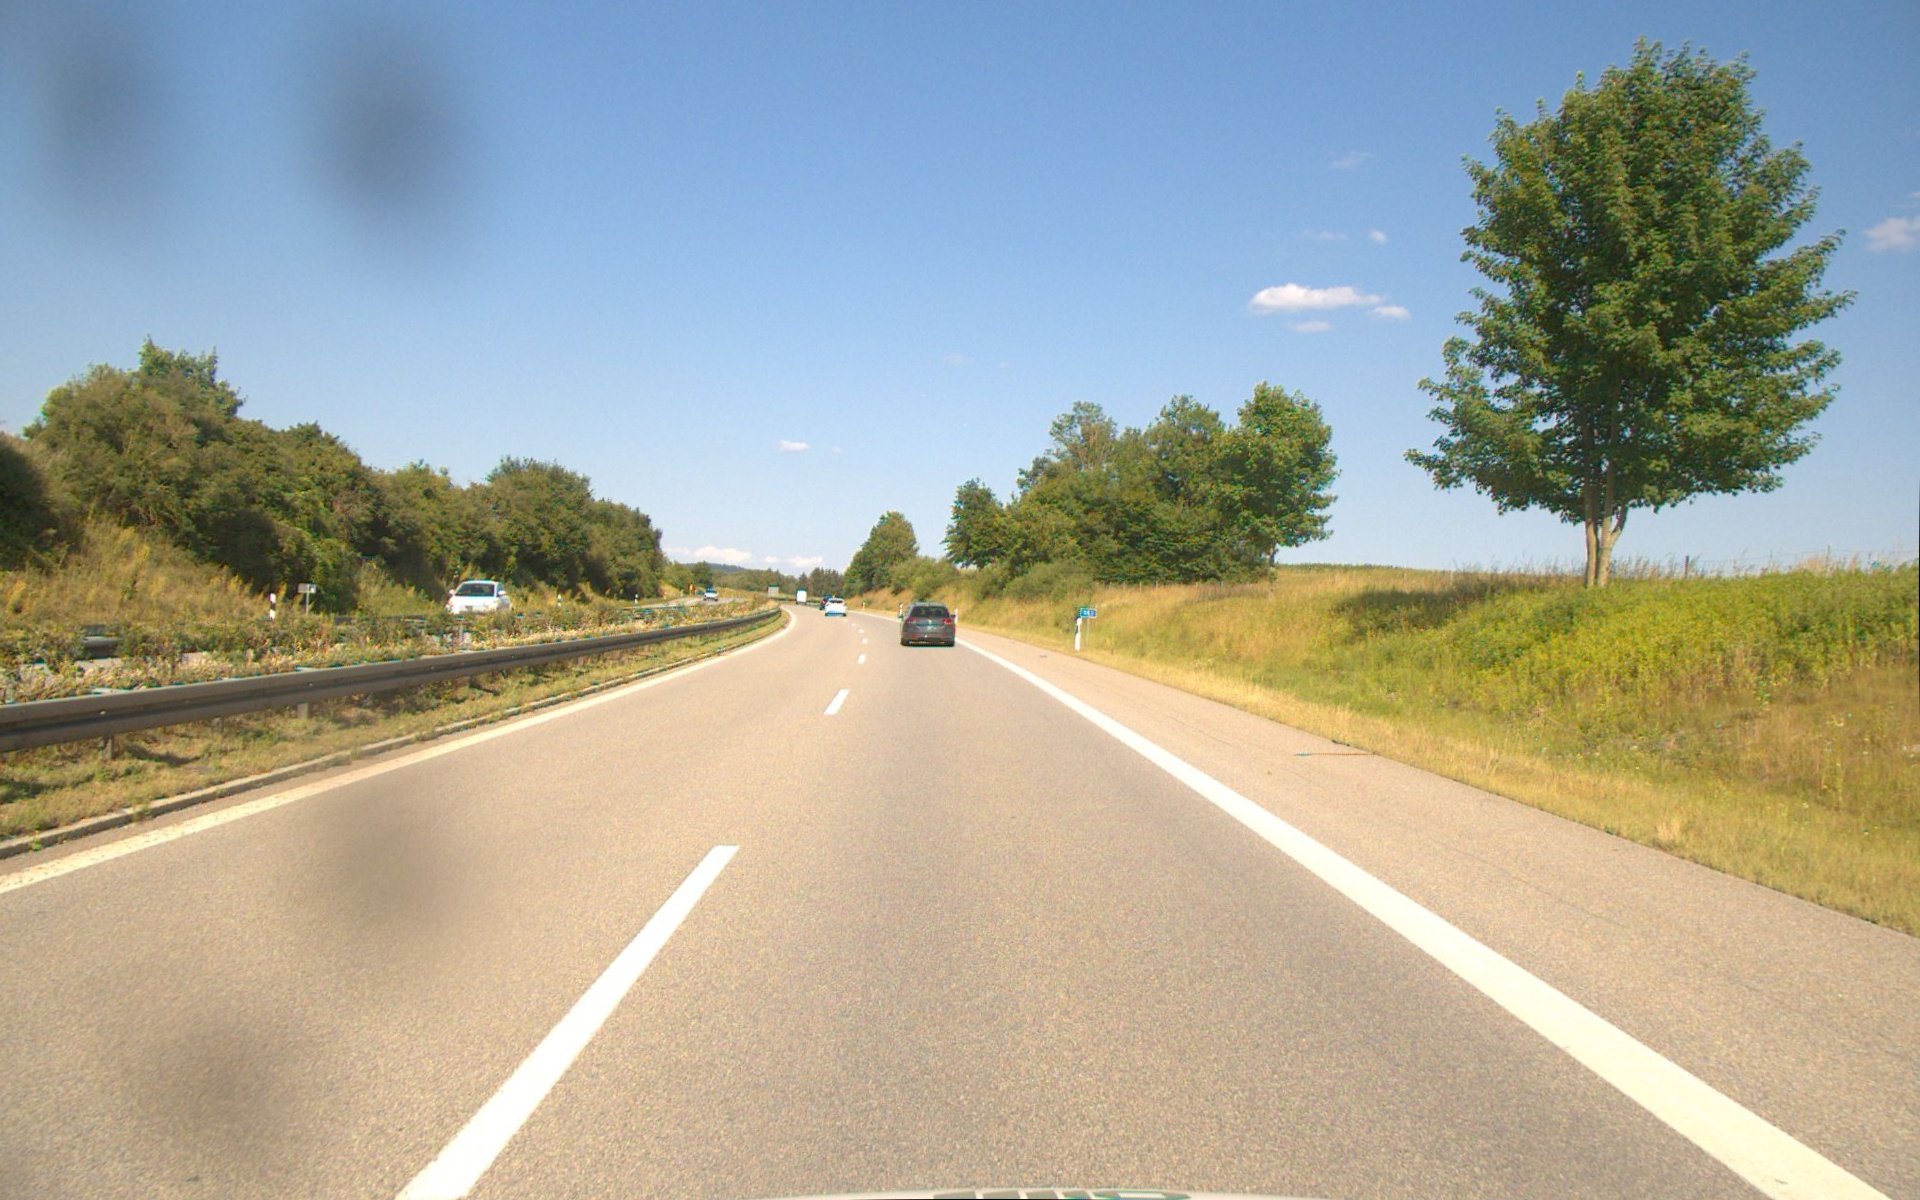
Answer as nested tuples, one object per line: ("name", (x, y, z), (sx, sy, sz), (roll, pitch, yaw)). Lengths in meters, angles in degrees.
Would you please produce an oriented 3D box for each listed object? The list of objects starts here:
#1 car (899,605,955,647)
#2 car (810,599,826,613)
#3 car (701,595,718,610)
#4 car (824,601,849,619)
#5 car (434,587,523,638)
("car", (-1.146, 0.853, 56.034), (1.755, 1.368, 3.997), (0, 0, -3))
("car", (-16.250, 0.718, 189.226), (1.677, 1.411, 3.352), (6, -2, -3))
("car", (-34.701, 0.328, 229.017), (1.955, 2.049, 4.849), (1, 0, -6))
("car", (-10.095, 0.841, 135.771), (1.967, 1.368, 3.997), (2, -1, -4))
("car", (-16.071, 0.409, 55.362), (1.819, 1.626, 3.999), (1, 0, -1))
